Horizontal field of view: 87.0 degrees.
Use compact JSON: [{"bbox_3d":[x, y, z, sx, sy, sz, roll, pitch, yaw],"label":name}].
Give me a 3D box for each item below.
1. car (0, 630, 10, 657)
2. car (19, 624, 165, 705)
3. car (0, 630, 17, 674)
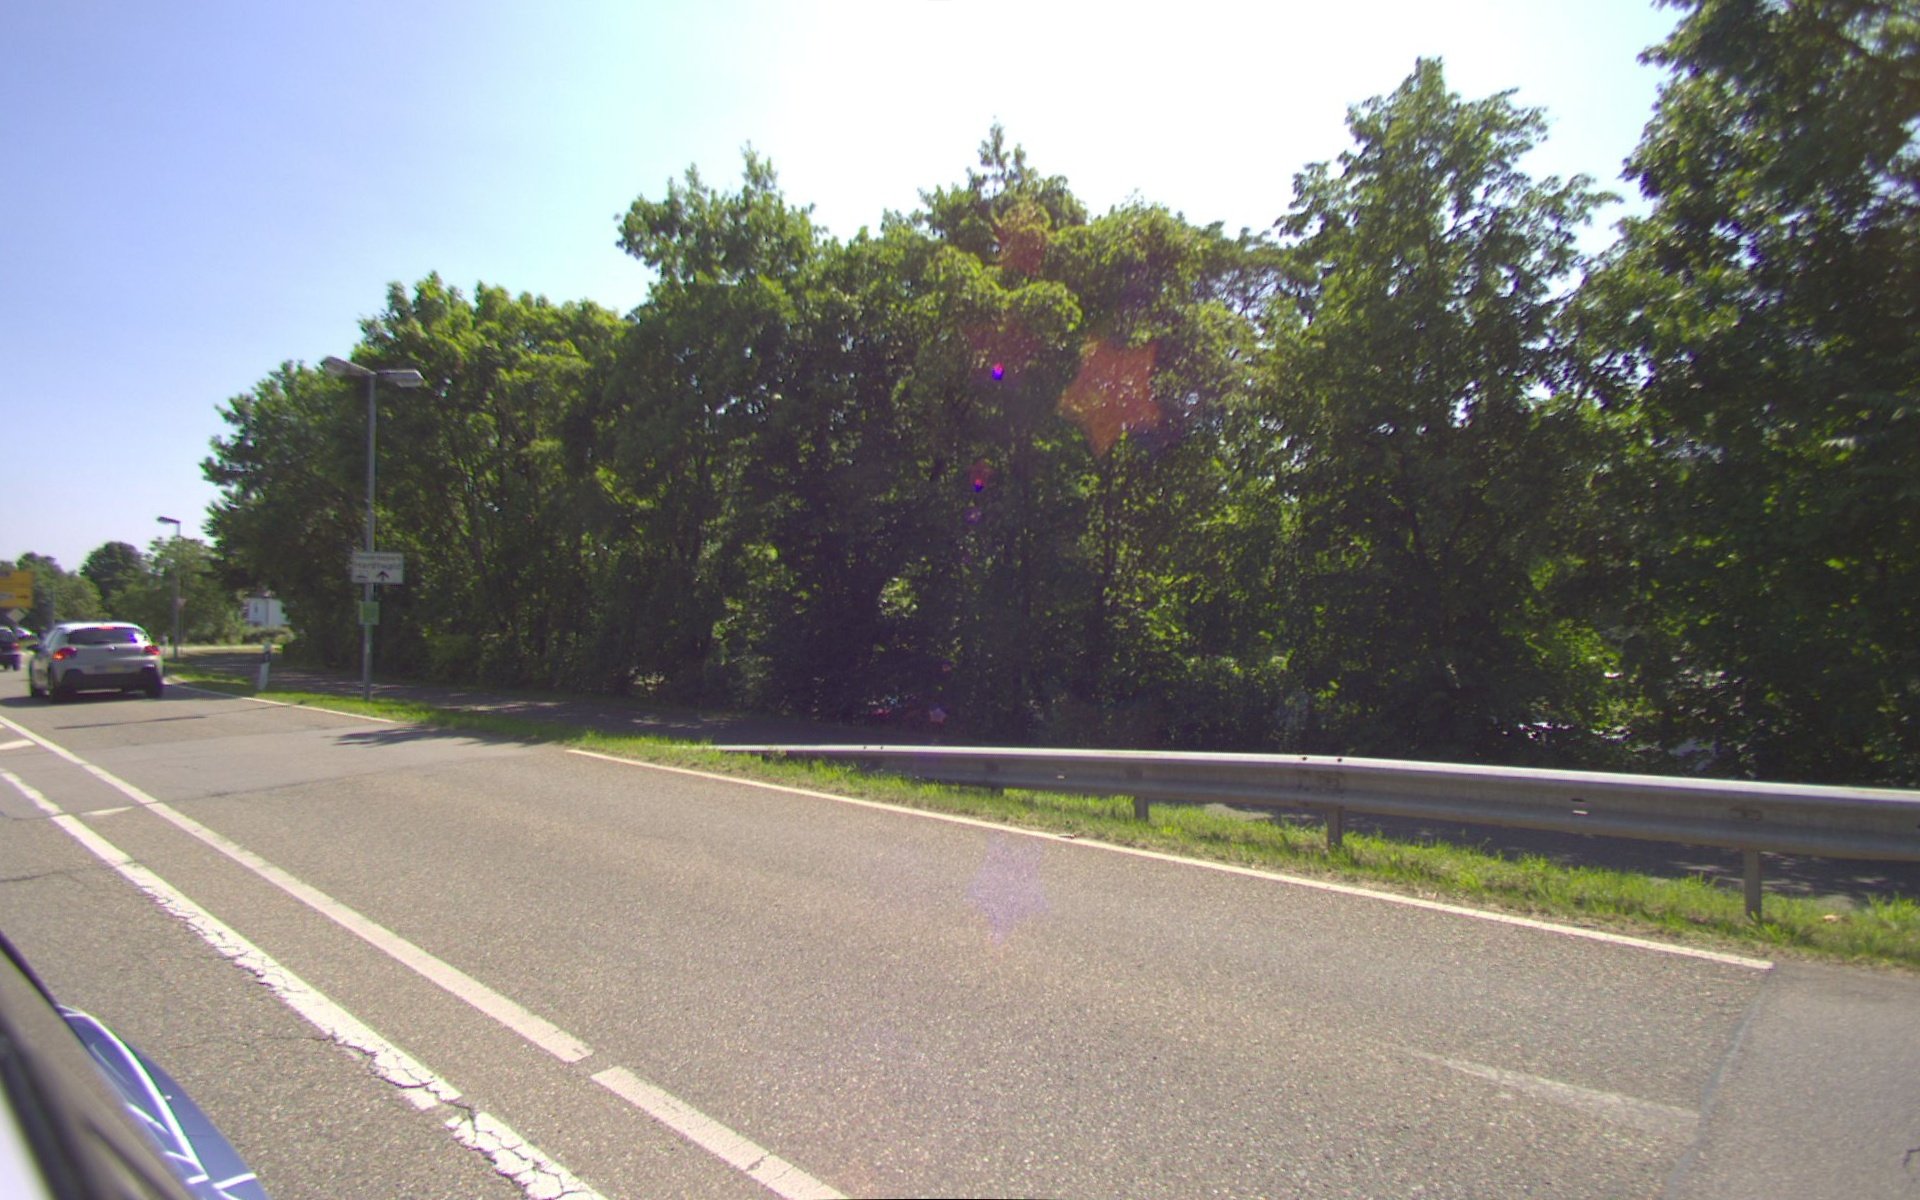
[{"bbox_3d":[-61.476,2.730,62.104,1.735,1.658,4.349,-4,-3,18],"label":"car"},{"bbox_3d":[-17.396,1.224,20.227,3.887,1.467,1.721,-2,-2,42],"label":"car"},{"bbox_3d":[-33.065,1.734,34.047,3.430,1.415,1.610,-1,-1,40],"label":"car"}]
